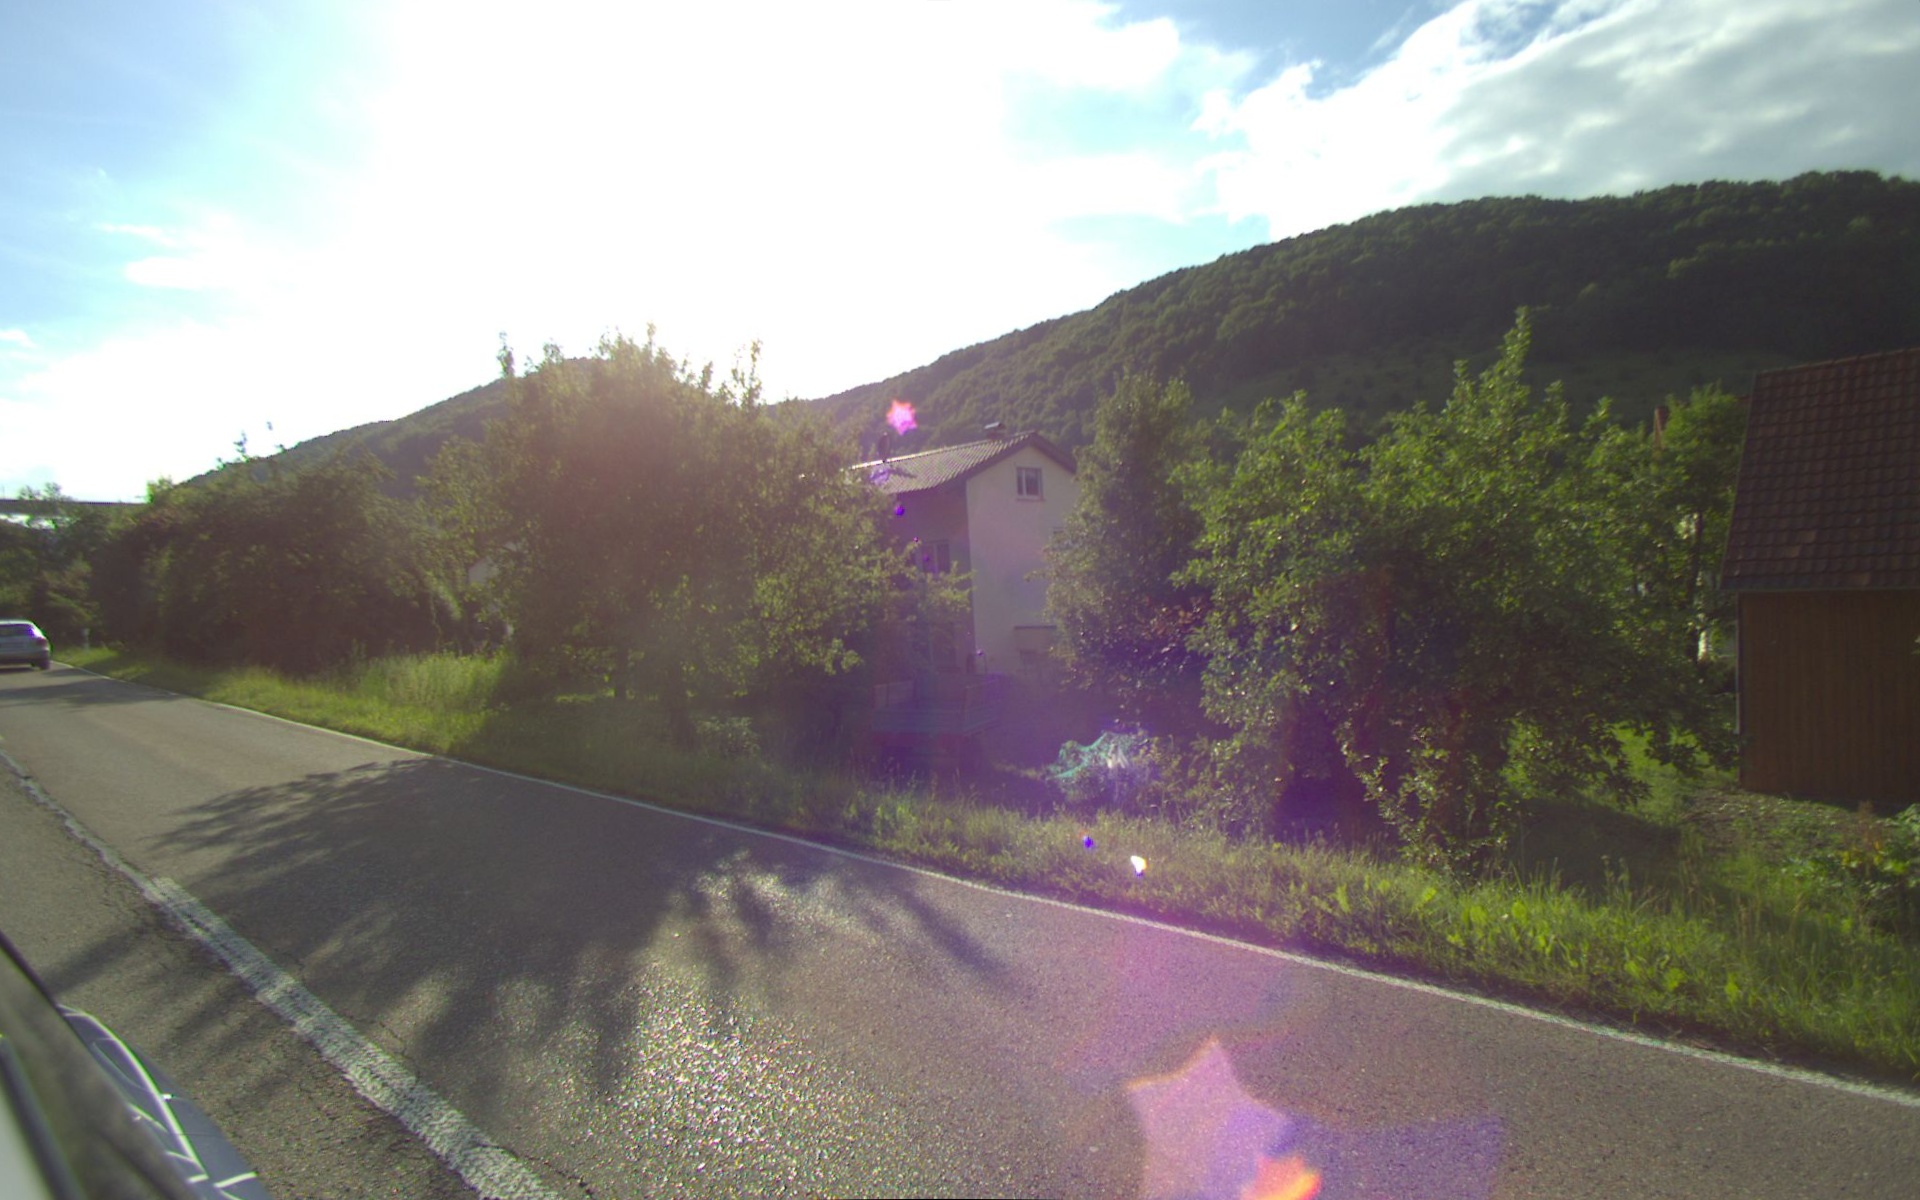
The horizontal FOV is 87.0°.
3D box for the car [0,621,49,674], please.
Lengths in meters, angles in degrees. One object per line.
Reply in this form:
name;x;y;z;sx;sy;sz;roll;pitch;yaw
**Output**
car;-27.394;1.329;28.925;3.663;1.420;1.674;-1;-1;43
